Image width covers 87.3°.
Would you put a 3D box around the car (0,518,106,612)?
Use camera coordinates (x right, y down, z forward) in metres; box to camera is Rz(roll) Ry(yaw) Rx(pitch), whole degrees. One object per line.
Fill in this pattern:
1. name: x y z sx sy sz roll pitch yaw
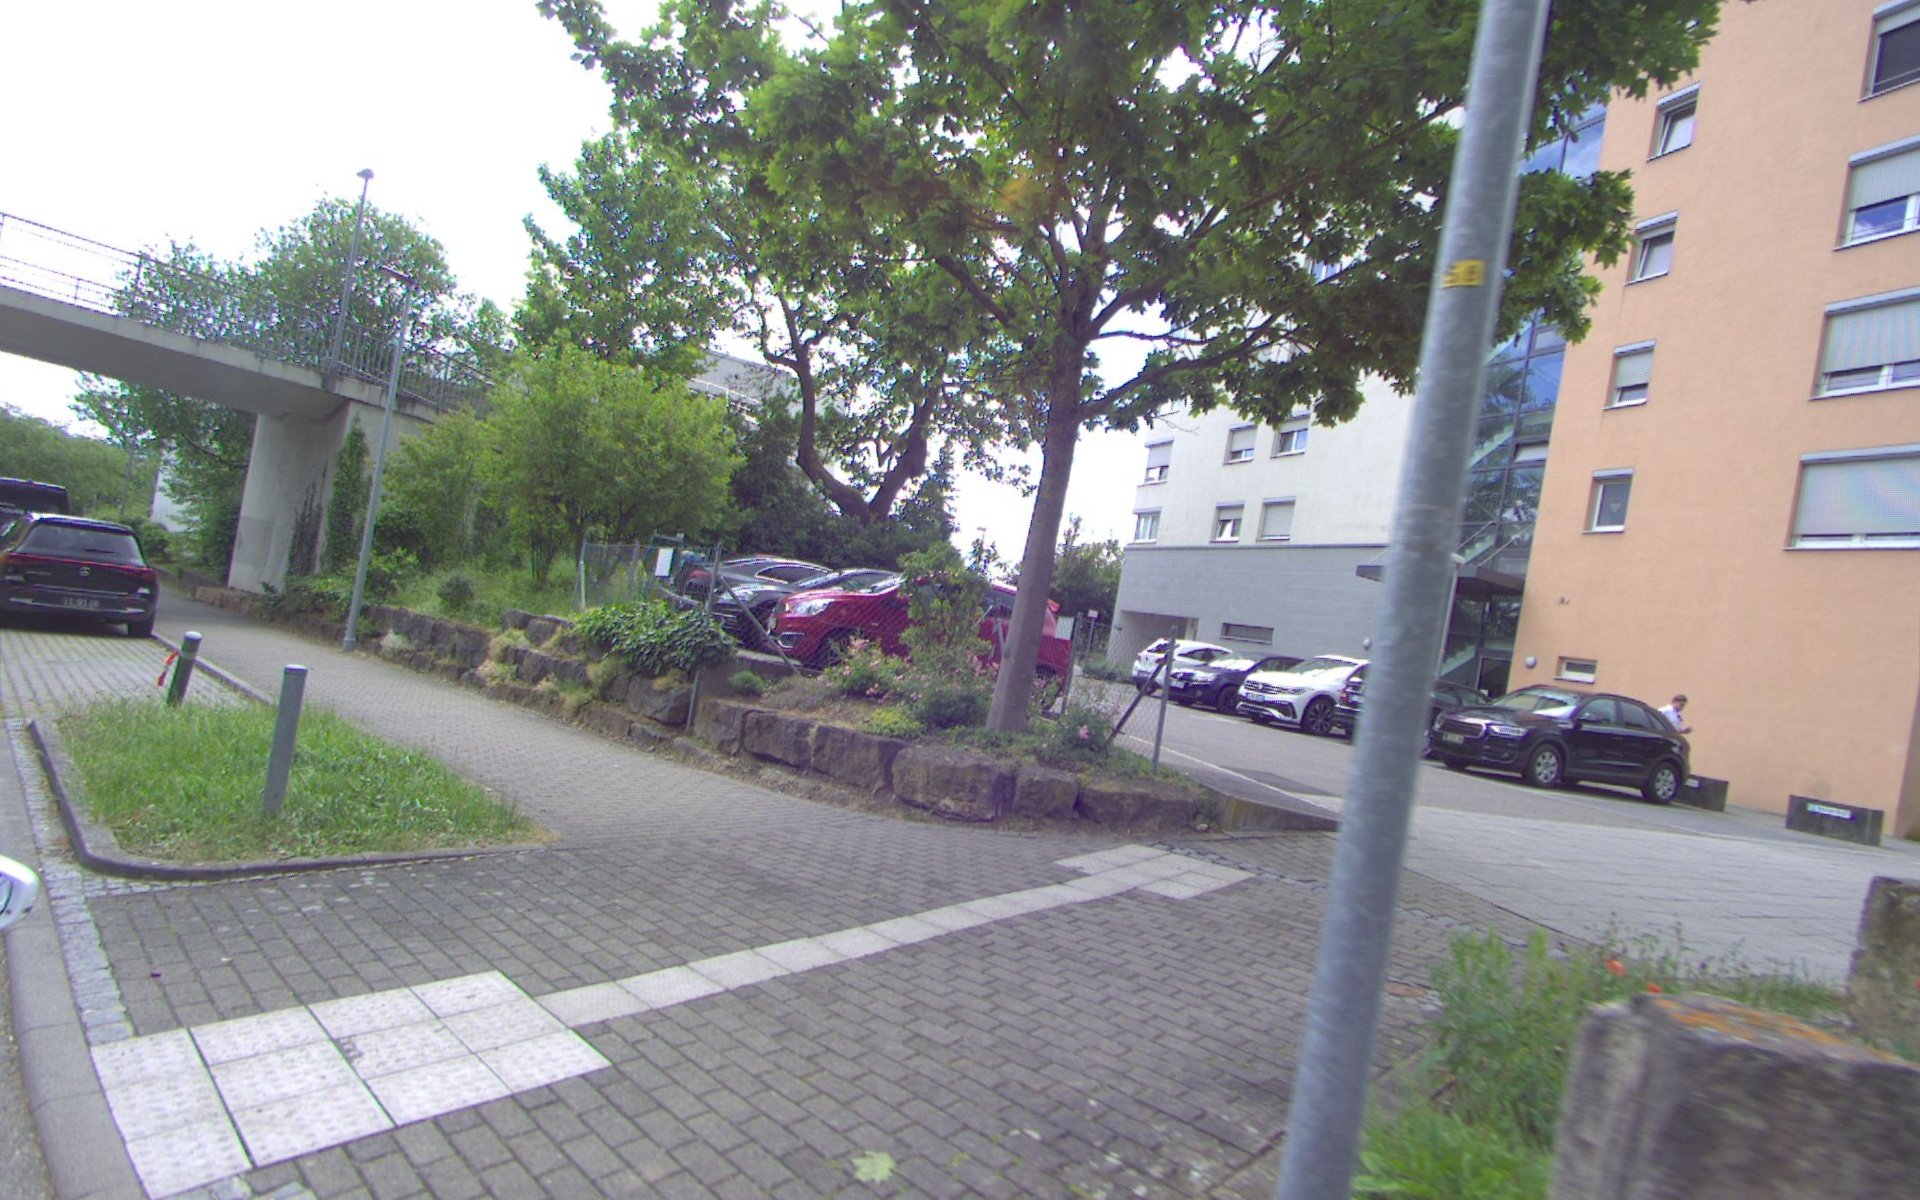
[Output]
1. car: -18.390 -0.754 19.948 4.065 1.513 1.697 5 -3 44

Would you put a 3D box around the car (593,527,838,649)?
1. car: -5.092 -0.209 21.042 4.508 1.686 1.933 11 -3 -26

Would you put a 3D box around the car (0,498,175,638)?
1. car: -13.686 -0.488 15.414 4.313 1.697 1.811 3 -4 43

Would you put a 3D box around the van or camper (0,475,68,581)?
1. van or camper: -26.157 -2.014 27.565 5.401 2.553 1.989 4 -2 44

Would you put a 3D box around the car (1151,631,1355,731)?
1. car: 6.562 1.812 22.572 4.000 1.534 1.749 10 -3 -19

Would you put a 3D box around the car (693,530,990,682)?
1. car: -1.688 0.125 14.392 3.754 1.437 1.675 11 -3 -24

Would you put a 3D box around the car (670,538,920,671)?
1. car: -2.730 0.102 16.639 3.618 1.514 1.675 11 -3 -24

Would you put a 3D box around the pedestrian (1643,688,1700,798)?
1. pedestrian: 12.820 2.574 18.126 0.475 1.873 0.503 10 -2 -32

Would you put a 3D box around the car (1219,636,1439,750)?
1. car: 7.492 1.886 20.357 4.086 1.611 1.682 11 -3 -26

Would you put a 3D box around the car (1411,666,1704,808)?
1. car: 9.513 2.174 16.057 4.000 1.534 1.749 10 -3 -19

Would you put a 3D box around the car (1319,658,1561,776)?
1. car: 8.786 2.141 18.443 3.788 1.474 1.686 10 -2 -19

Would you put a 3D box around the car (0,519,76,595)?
1. car: -22.155 -1.074 23.684 3.286 1.513 1.561 5 -3 43

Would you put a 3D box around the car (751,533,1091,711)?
1. car: -0.473 0.297 12.206 3.618 1.455 1.675 11 -3 -24

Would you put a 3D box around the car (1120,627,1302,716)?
1. car: 6.229 1.775 25.081 3.939 1.534 1.751 10 -3 -18

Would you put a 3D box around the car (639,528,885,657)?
1. car: -3.671 -0.101 18.695 3.956 1.631 1.933 11 -3 -26
